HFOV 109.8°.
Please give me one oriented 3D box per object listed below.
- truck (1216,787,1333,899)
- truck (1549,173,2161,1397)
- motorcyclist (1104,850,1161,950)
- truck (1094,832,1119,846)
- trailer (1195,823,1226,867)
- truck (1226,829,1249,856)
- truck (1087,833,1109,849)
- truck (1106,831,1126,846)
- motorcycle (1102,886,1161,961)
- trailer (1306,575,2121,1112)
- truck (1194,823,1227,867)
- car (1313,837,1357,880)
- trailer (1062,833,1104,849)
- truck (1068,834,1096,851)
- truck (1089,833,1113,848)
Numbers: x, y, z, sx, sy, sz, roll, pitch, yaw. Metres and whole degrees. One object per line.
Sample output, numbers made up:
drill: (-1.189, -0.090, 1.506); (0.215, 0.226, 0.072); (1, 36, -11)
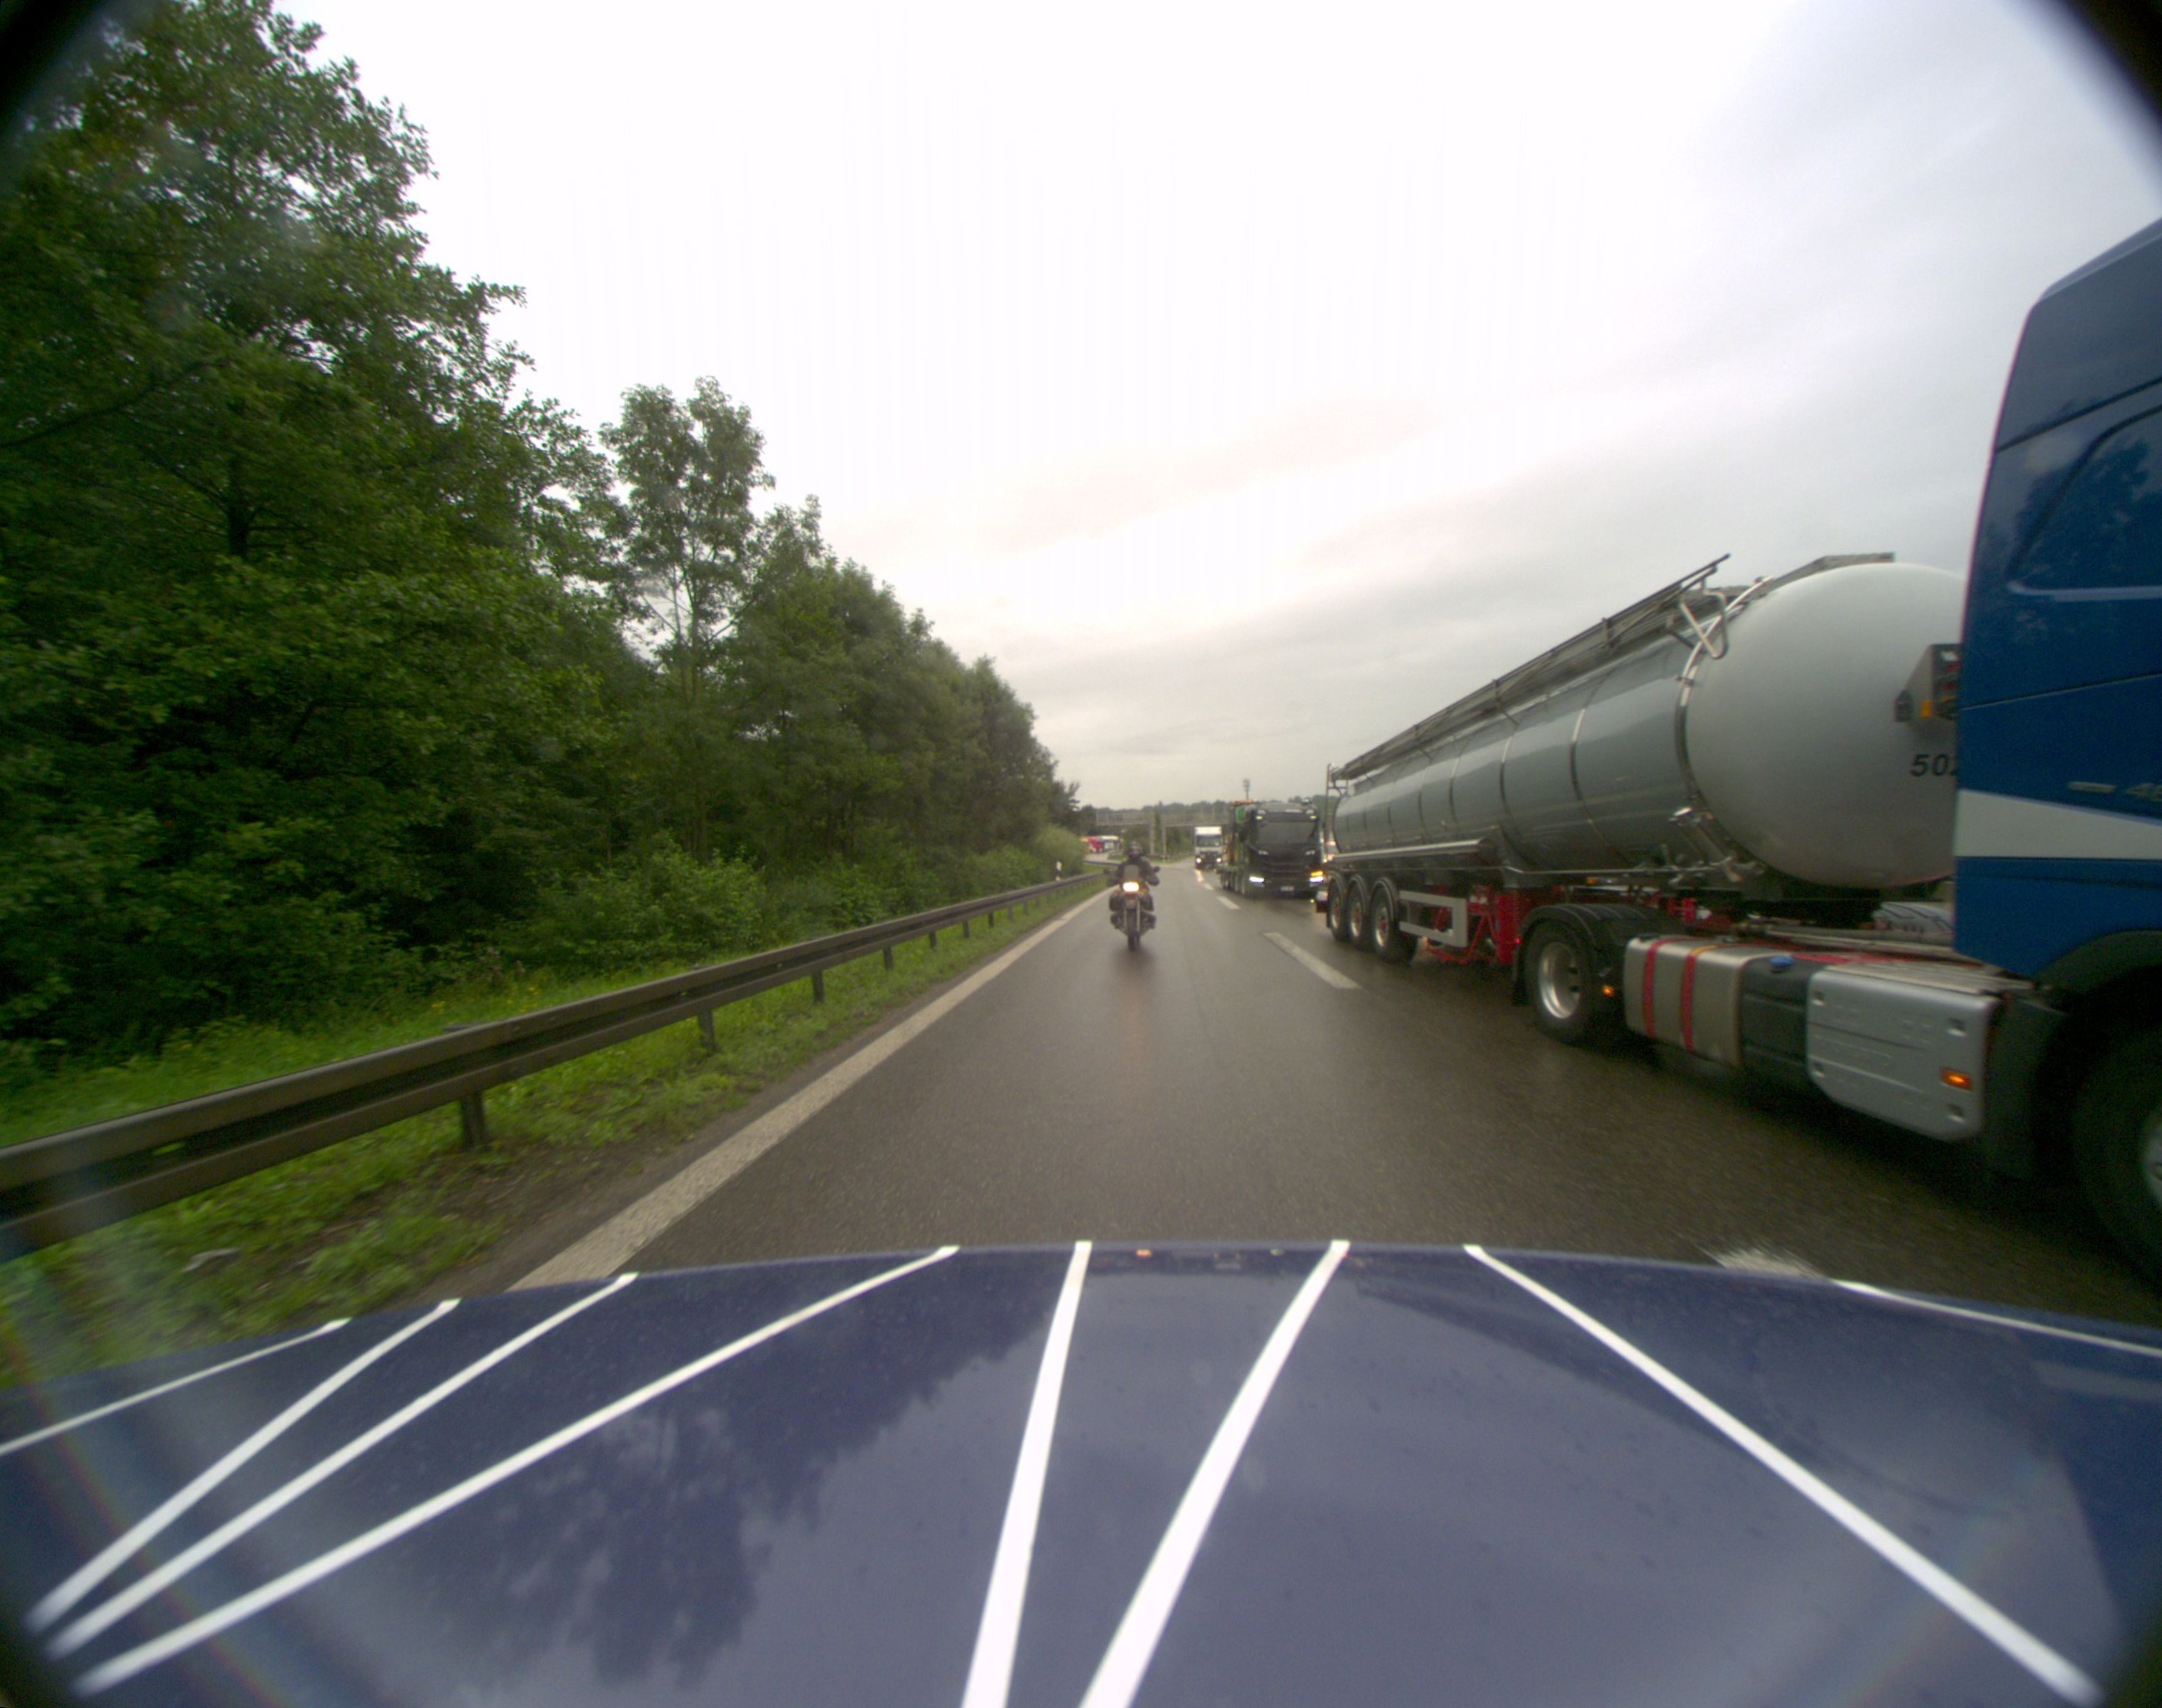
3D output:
truck: (7.252, -0.419, 30.281); (2.837, 3.568, 11.801); (0, 1, 6)
truck: (4.759, -0.216, 3.083); (2.883, 3.672, 5.058); (-1, 0, 5)
motorcyclist: (0.882, 0.731, 12.654); (0.877, 1.559, 1.373); (-1, 1, 6)
truck: (7.616, -4.639, 227.577); (3.252, 4.069, 7.916); (-2, 2, -36)
trailer: (13.598, -1.050, 79.385); (2.923, 4.181, 13.643); (-1, 1, 10)
truck: (27.405, -2.114, 133.082); (3.352, 4.048, 12.579); (-4, 2, 12)
truck: (4.355, -3.392, 198.538); (3.252, 3.897, 5.008); (-2, 3, -36)
truck: (10.933, -4.787, 235.954); (3.251, 4.362, 5.798); (-4, 3, -36)
motorcycle: (0.892, 1.112, 12.746); (0.877, 1.016, 2.353); (-1, 1, 6)
trailer: (5.387, -0.052, 9.777); (2.879, 3.269, 10.081); (-1, 0, 6)
truck: (12.548, -0.916, 73.509); (2.923, 4.076, 6.722); (-1, 1, 10)
car: (18.135, 0.265, 54.404); (1.998, 2.818, 4.000); (-4, 2, 7)
trailer: (0.411, -3.532, 203.994); (3.252, 3.897, 14.789); (-2, 2, -36)
truck: (0.221, -2.865, 185.348); (2.845, 3.897, 8.109); (-2, 2, -32)
truck: (5.252, -3.618, 203.519); (2.904, 3.897, 6.537); (-2, 2, -36)
